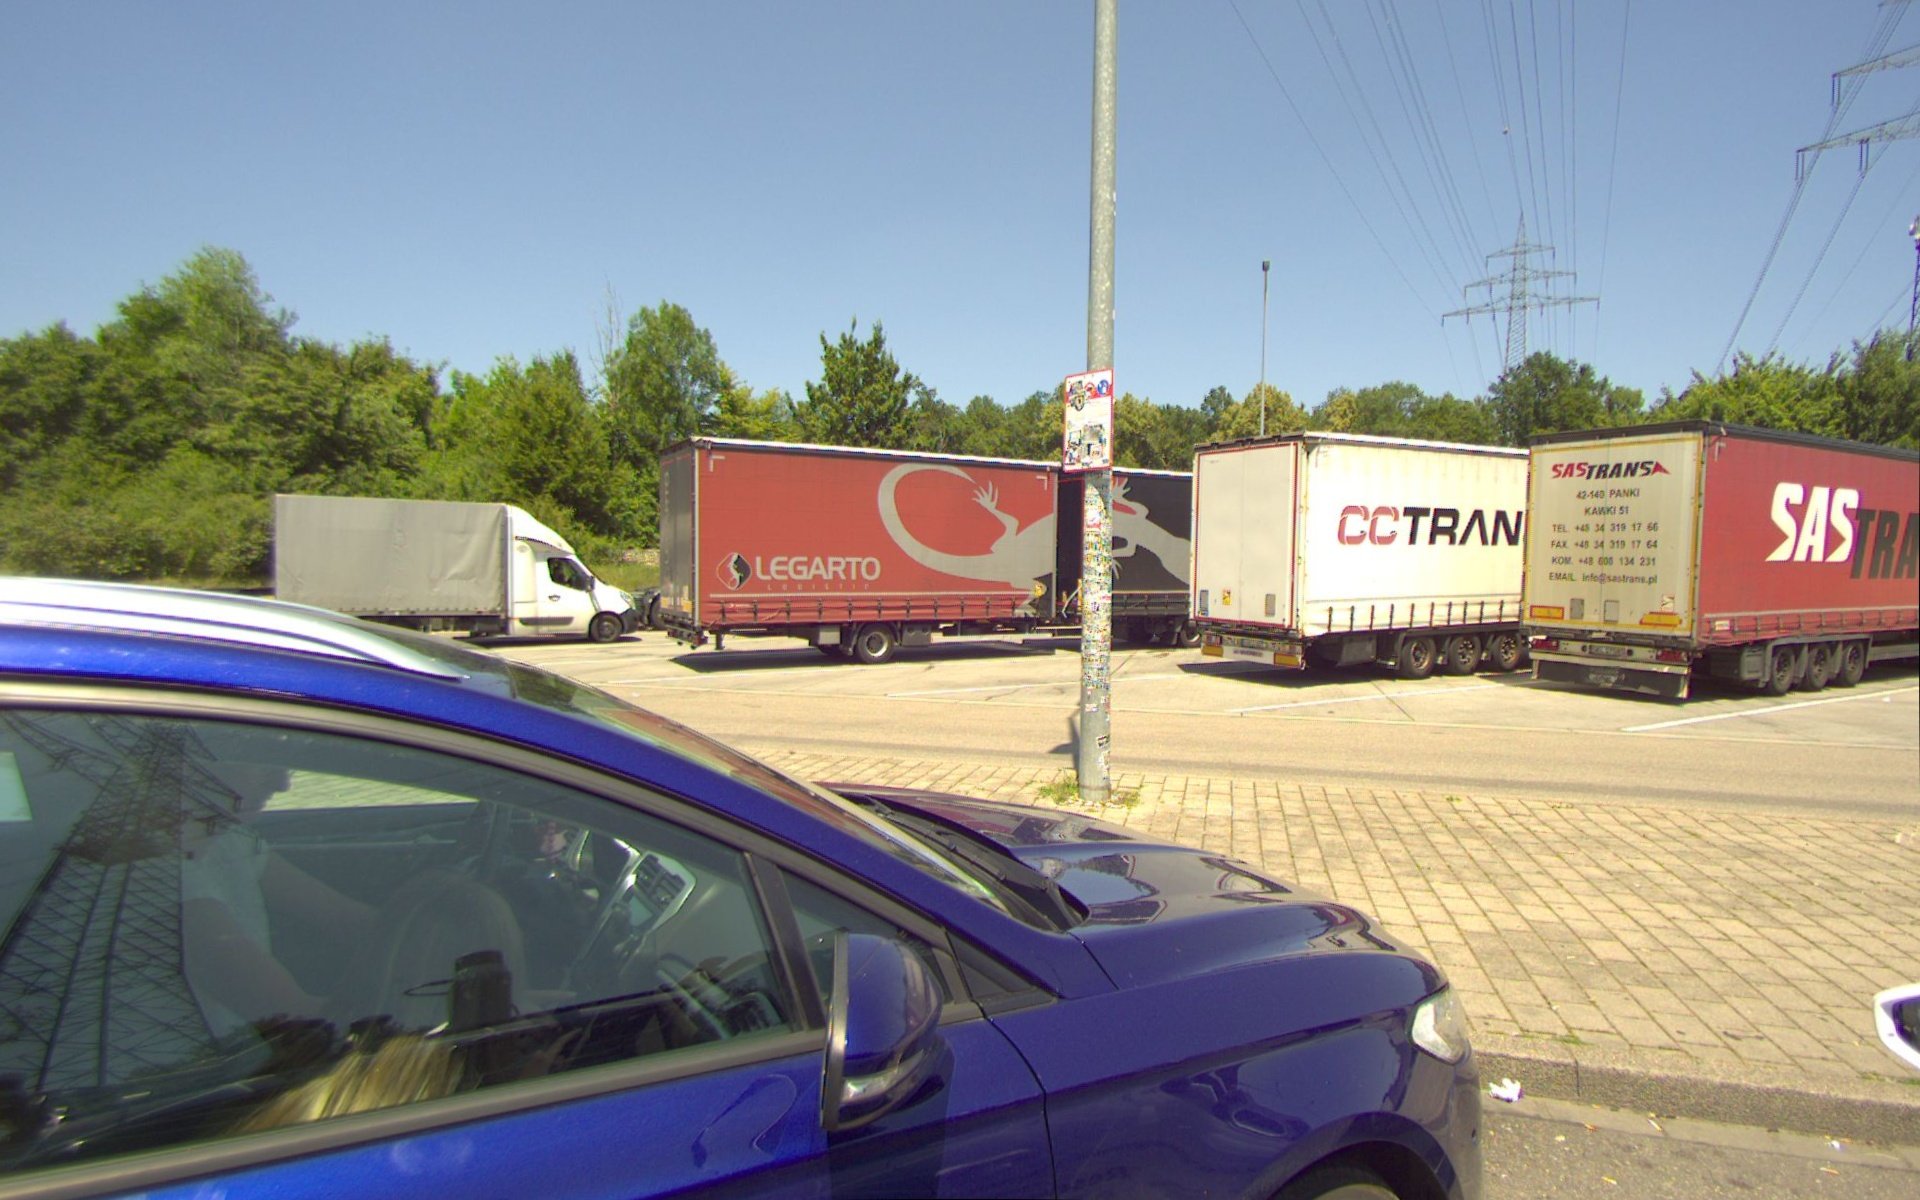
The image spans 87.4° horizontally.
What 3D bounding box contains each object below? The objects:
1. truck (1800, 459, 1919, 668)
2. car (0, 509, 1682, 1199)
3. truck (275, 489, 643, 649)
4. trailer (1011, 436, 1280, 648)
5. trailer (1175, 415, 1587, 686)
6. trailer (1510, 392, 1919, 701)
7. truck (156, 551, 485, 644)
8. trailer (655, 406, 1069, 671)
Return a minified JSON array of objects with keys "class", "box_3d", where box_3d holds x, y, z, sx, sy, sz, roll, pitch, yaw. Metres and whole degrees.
[{"class":"truck","box_3d":[21.455,-0.719,22.067,5.824,4.189,2.792,0,0,-30]},{"class":"car","box_3d":[-0.994,0.653,1.482,4.362,1.437,1.731,1,0,-30]},{"class":"truck","box_3d":[-11.091,-0.602,22.769,7.171,3.194,2.160,0,1,-30]},{"class":"trailer","box_3d":[4.485,-1.230,24.051,6.076,4.505,2.665,0,1,-30]},{"class":"trailer","box_3d":[8.074,-0.768,18.863,8.189,4.208,2.741,0,1,-30]},{"class":"trailer","box_3d":[15.272,-0.711,18.432,13.046,4.276,2.786,0,0,-31]},{"class":"truck","box_3d":[-15.285,-0.042,24.544,6.538,2.040,1.984,0,0,-30]},{"class":"trailer","box_3d":[-1.797,-1.028,20.246,7.963,4.510,2.648,0,0,-31]}]
